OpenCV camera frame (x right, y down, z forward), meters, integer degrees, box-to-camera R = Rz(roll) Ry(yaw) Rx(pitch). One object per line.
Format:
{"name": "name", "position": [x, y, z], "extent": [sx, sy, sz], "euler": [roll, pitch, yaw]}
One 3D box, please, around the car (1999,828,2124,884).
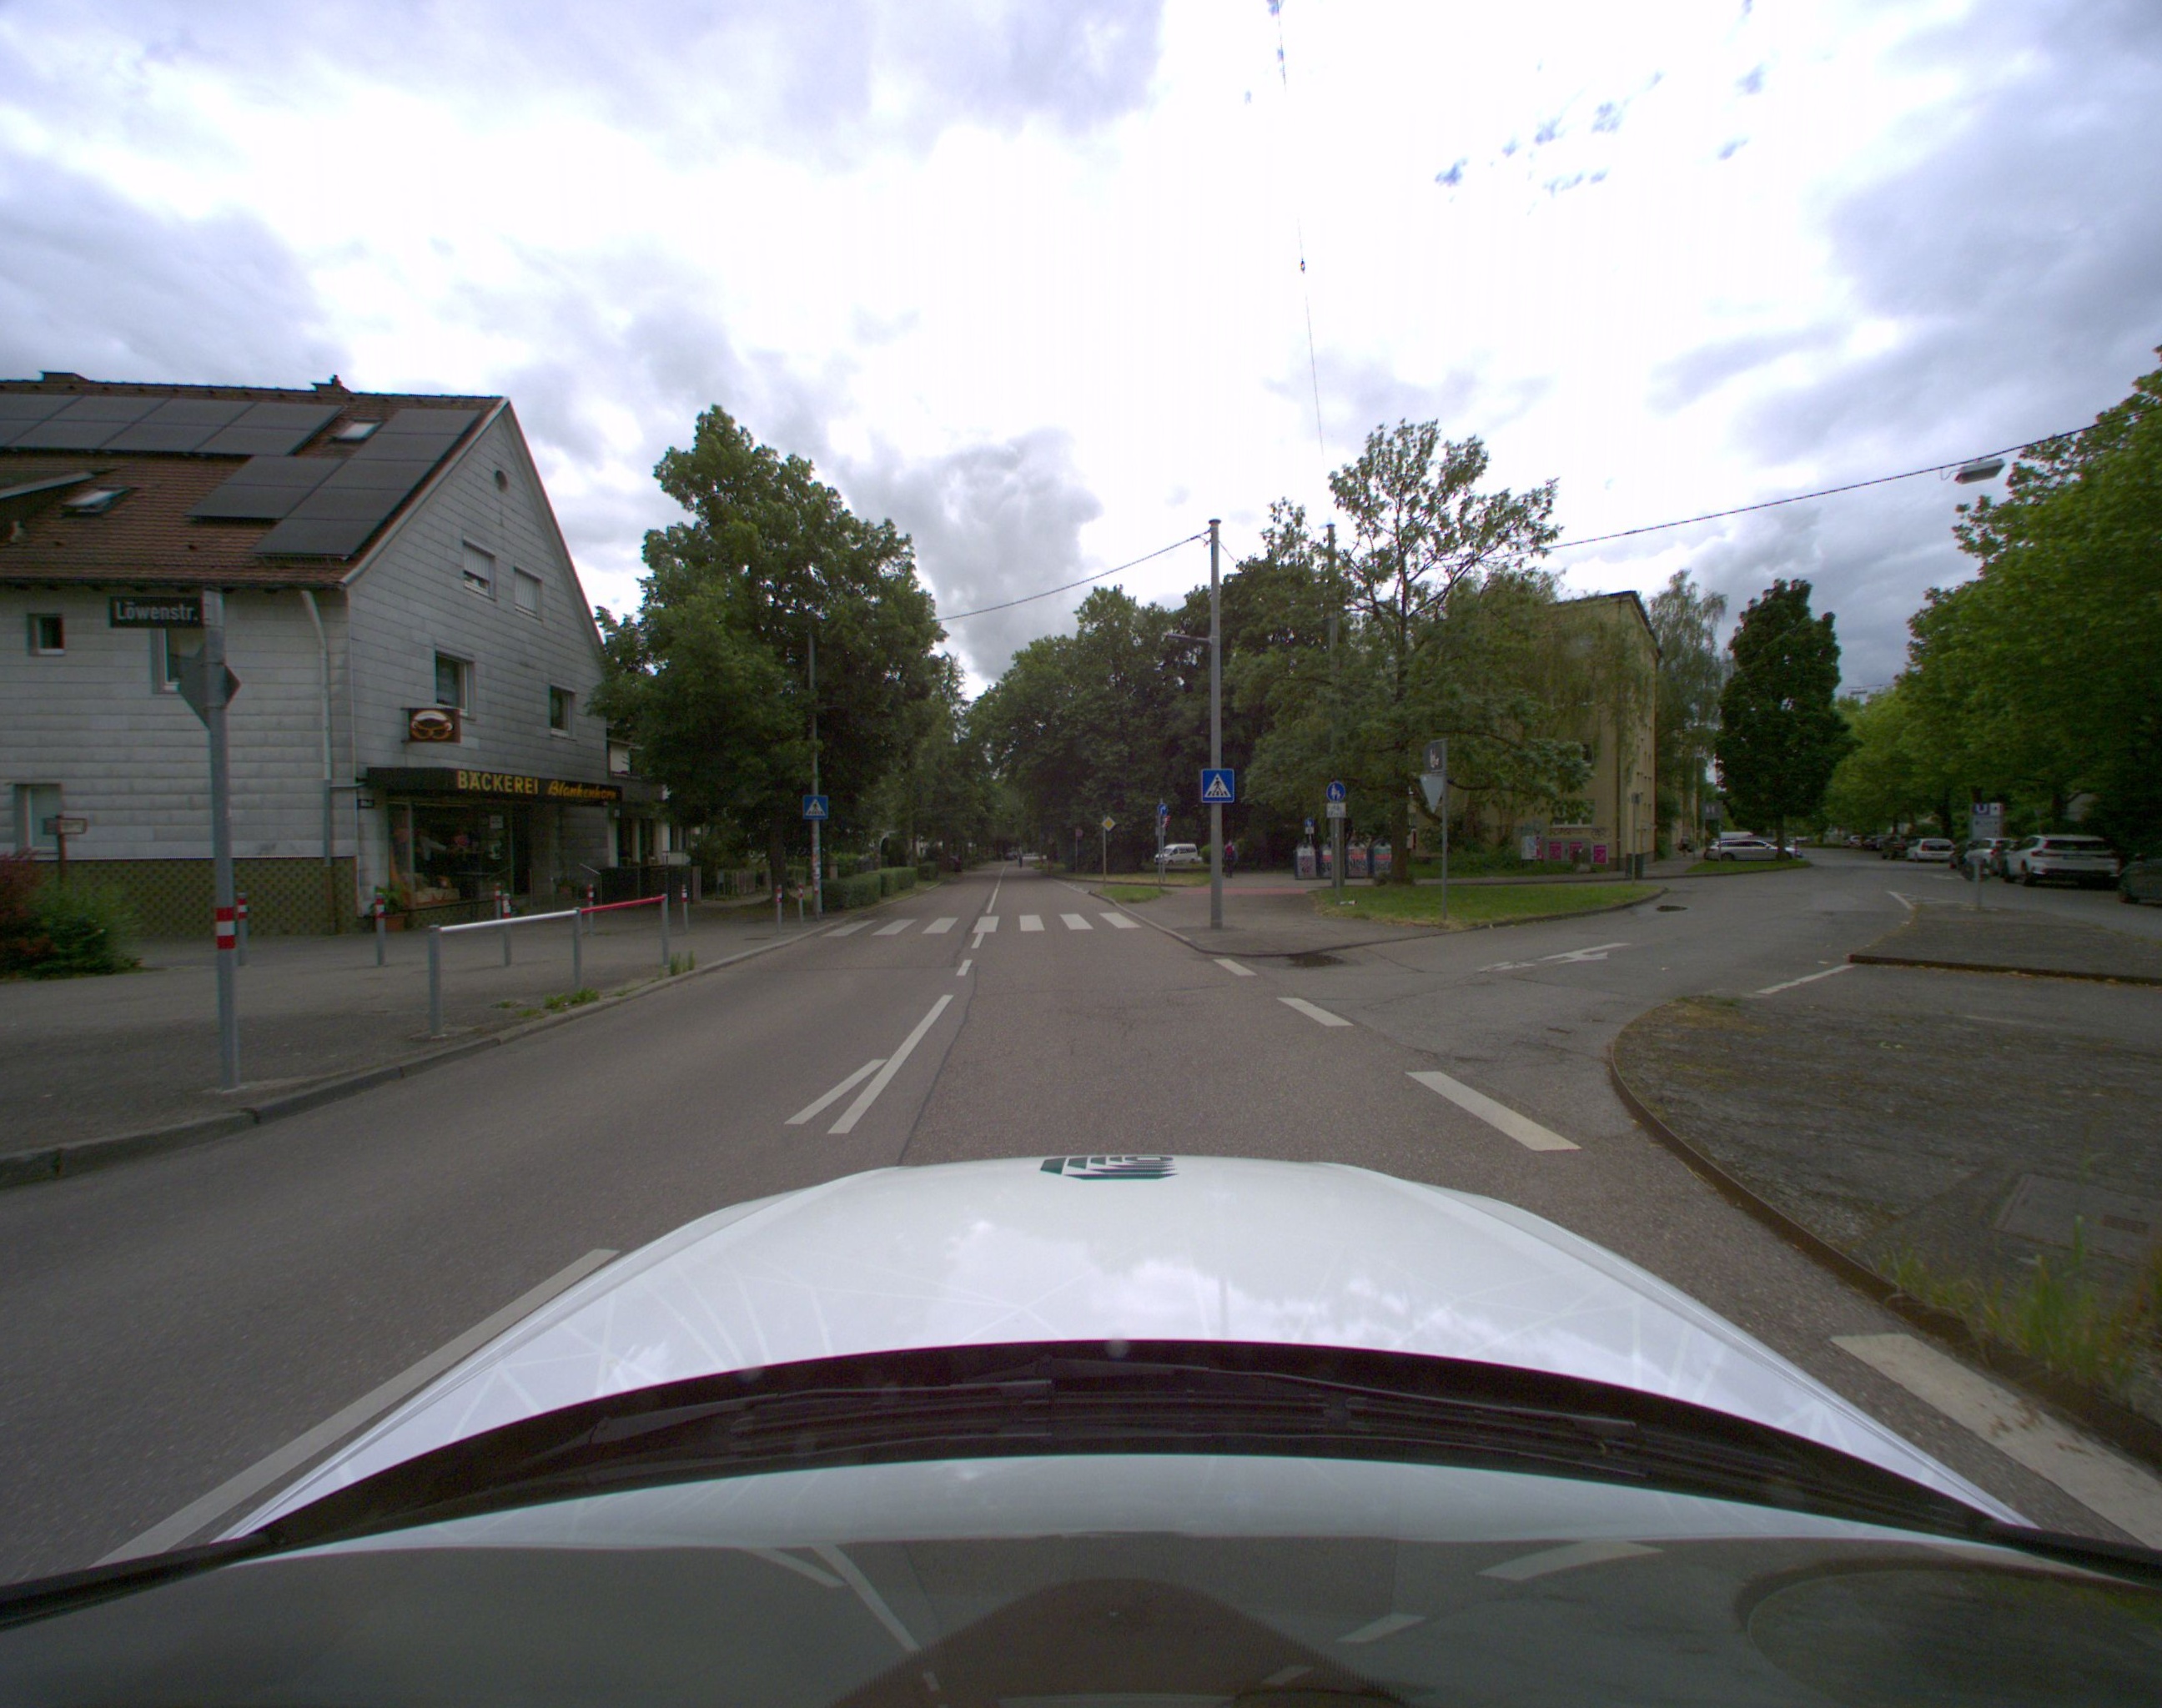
{"name": "car", "position": [30.634, 0.023, 25.573], "extent": [1.761, 1.597, 4.275], "euler": [2, 1, 40]}

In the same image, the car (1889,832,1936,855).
{"name": "car", "position": [56.423, -0.731, 55.318], "extent": [1.766, 1.448, 4.113], "euler": [3, 2, 39]}

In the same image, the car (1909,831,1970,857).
{"name": "car", "position": [52.481, -0.618, 49.839], "extent": [1.766, 1.486, 3.658], "euler": [3, 2, 34]}

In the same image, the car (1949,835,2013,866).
{"name": "car", "position": [42.464, -0.156, 38.486], "extent": [1.556, 1.354, 3.465], "euler": [3, 2, 40]}

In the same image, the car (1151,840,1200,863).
{"name": "car", "position": [10.261, -0.288, 88.413], "extent": [5.413, 2.297, 2.113], "euler": [0, 2, -40]}

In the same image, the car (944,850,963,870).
{"name": "car", "position": [-11.815, 0.525, 75.363], "extent": [1.642, 1.724, 3.789], "euler": [1, 1, -9]}

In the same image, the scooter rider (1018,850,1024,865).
{"name": "scooter rider", "position": [-6.590, 0.378, 89.422], "extent": [0.599, 1.552, 0.565], "euler": [-2, 2, -3]}

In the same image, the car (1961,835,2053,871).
{"name": "car", "position": [39.368, -0.076, 34.723], "extent": [1.627, 1.426, 3.466], "euler": [3, 2, 33]}

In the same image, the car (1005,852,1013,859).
{"name": "car", "position": [-16.194, 0.385, 183.228], "extent": [1.831, 1.498, 3.650], "euler": [2, 2, -6]}

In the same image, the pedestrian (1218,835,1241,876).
{"name": "pedestrian", "position": [7.309, 0.065, 40.028], "extent": [0.918, 1.871, 1.021], "euler": [-4, 3, 7]}

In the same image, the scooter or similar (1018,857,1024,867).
{"name": "scooter or similar", "position": [-6.565, 0.874, 89.284], "extent": [0.599, 1.054, 0.872], "euler": [-2, 2, -3]}

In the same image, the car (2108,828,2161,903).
{"name": "car", "position": [23.783, 0.267, 17.099], "extent": [1.856, 1.568, 4.044], "euler": [3, 2, 39]}

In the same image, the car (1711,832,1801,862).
{"name": "car", "position": [41.533, -0.417, 50.221], "extent": [4.153, 1.576, 1.829], "euler": [-4, -2, 39]}
